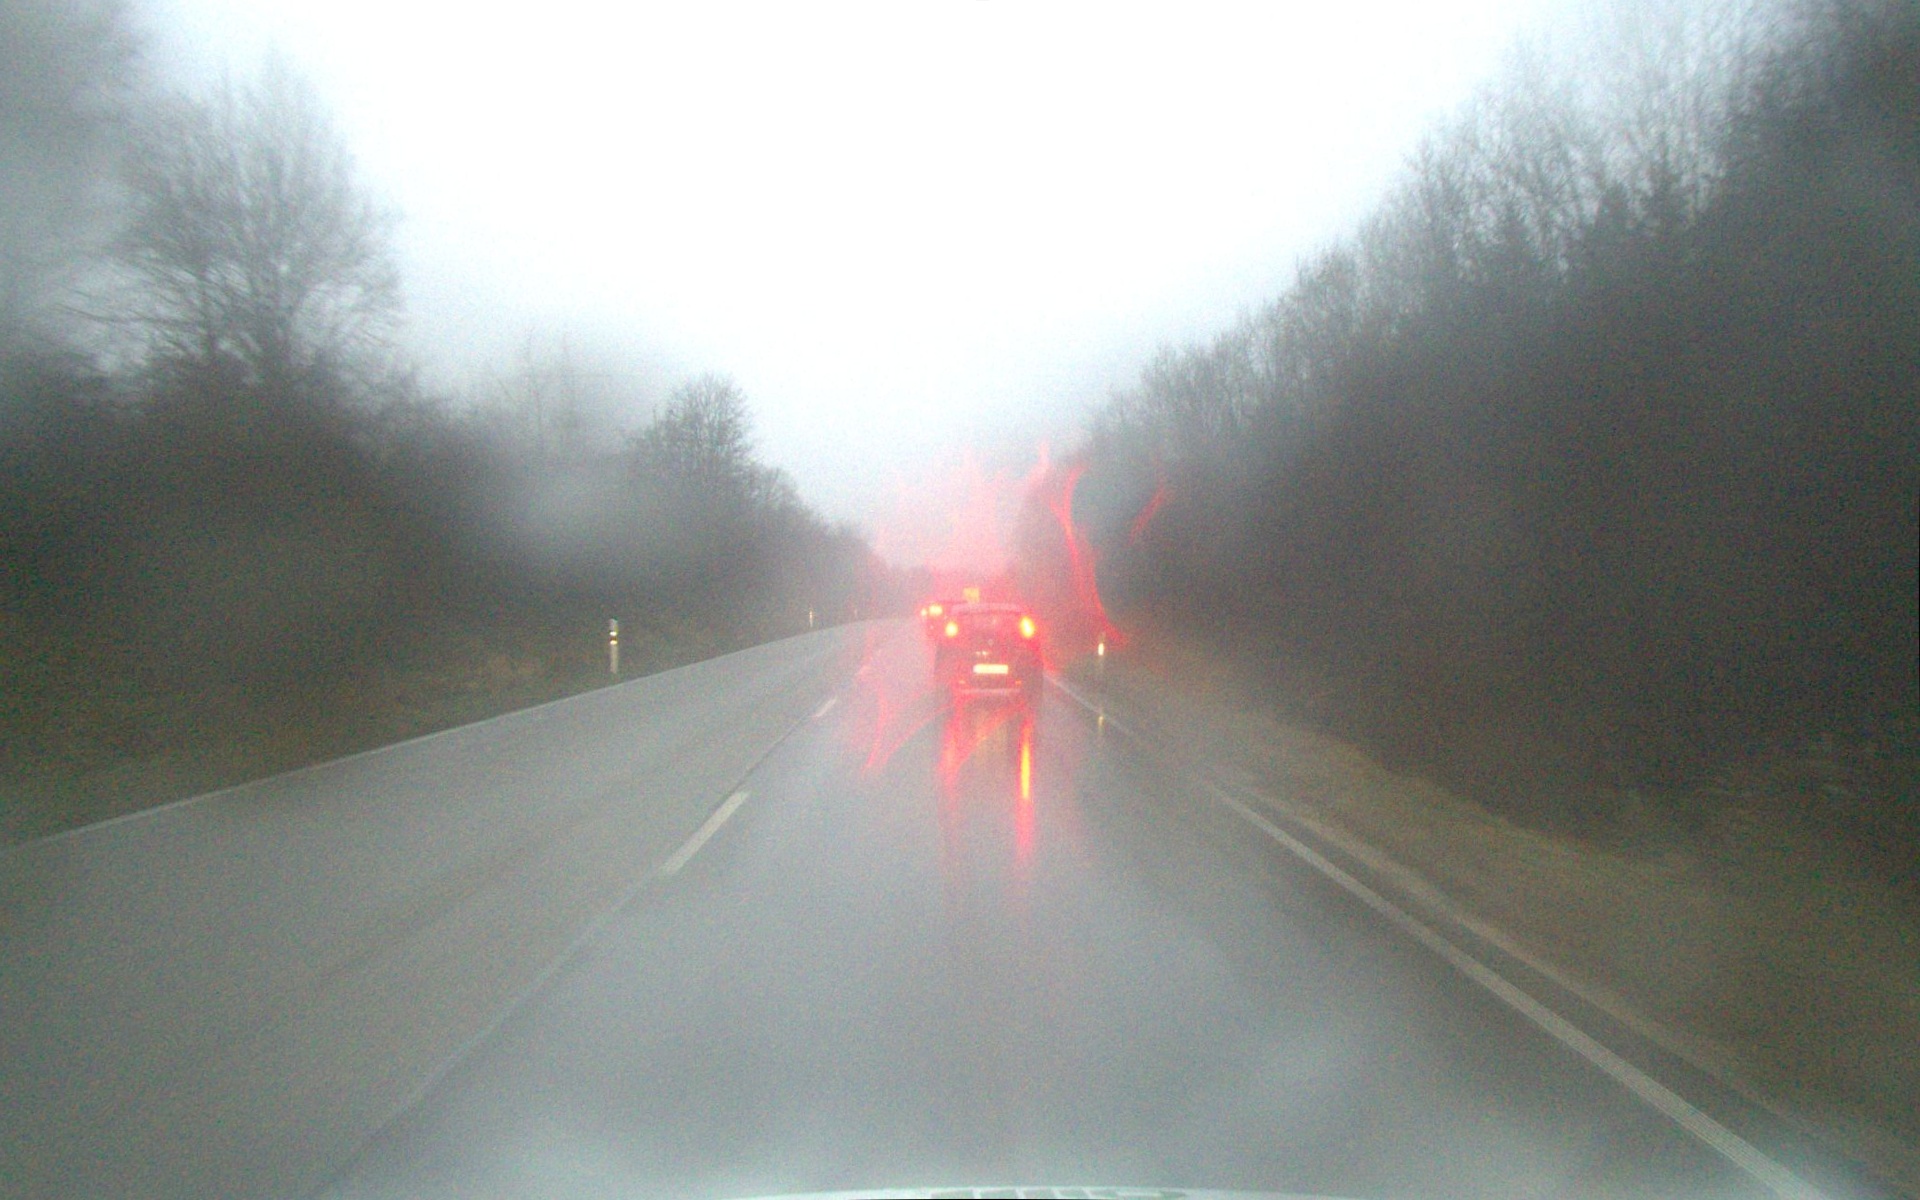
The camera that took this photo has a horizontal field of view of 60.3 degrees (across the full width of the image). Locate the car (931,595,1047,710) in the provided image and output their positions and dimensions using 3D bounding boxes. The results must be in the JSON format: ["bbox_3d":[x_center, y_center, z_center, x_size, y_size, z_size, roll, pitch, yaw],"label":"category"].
[{"bbox_3d":[0.446,0.790,26.390,1.692,1.672,4.000,1,-1,0],"label":"car"}]

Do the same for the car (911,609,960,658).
[{"bbox_3d":[-0.855,1.191,59.731,1.692,1.672,4.000,1,-1,0],"label":"car"}]
